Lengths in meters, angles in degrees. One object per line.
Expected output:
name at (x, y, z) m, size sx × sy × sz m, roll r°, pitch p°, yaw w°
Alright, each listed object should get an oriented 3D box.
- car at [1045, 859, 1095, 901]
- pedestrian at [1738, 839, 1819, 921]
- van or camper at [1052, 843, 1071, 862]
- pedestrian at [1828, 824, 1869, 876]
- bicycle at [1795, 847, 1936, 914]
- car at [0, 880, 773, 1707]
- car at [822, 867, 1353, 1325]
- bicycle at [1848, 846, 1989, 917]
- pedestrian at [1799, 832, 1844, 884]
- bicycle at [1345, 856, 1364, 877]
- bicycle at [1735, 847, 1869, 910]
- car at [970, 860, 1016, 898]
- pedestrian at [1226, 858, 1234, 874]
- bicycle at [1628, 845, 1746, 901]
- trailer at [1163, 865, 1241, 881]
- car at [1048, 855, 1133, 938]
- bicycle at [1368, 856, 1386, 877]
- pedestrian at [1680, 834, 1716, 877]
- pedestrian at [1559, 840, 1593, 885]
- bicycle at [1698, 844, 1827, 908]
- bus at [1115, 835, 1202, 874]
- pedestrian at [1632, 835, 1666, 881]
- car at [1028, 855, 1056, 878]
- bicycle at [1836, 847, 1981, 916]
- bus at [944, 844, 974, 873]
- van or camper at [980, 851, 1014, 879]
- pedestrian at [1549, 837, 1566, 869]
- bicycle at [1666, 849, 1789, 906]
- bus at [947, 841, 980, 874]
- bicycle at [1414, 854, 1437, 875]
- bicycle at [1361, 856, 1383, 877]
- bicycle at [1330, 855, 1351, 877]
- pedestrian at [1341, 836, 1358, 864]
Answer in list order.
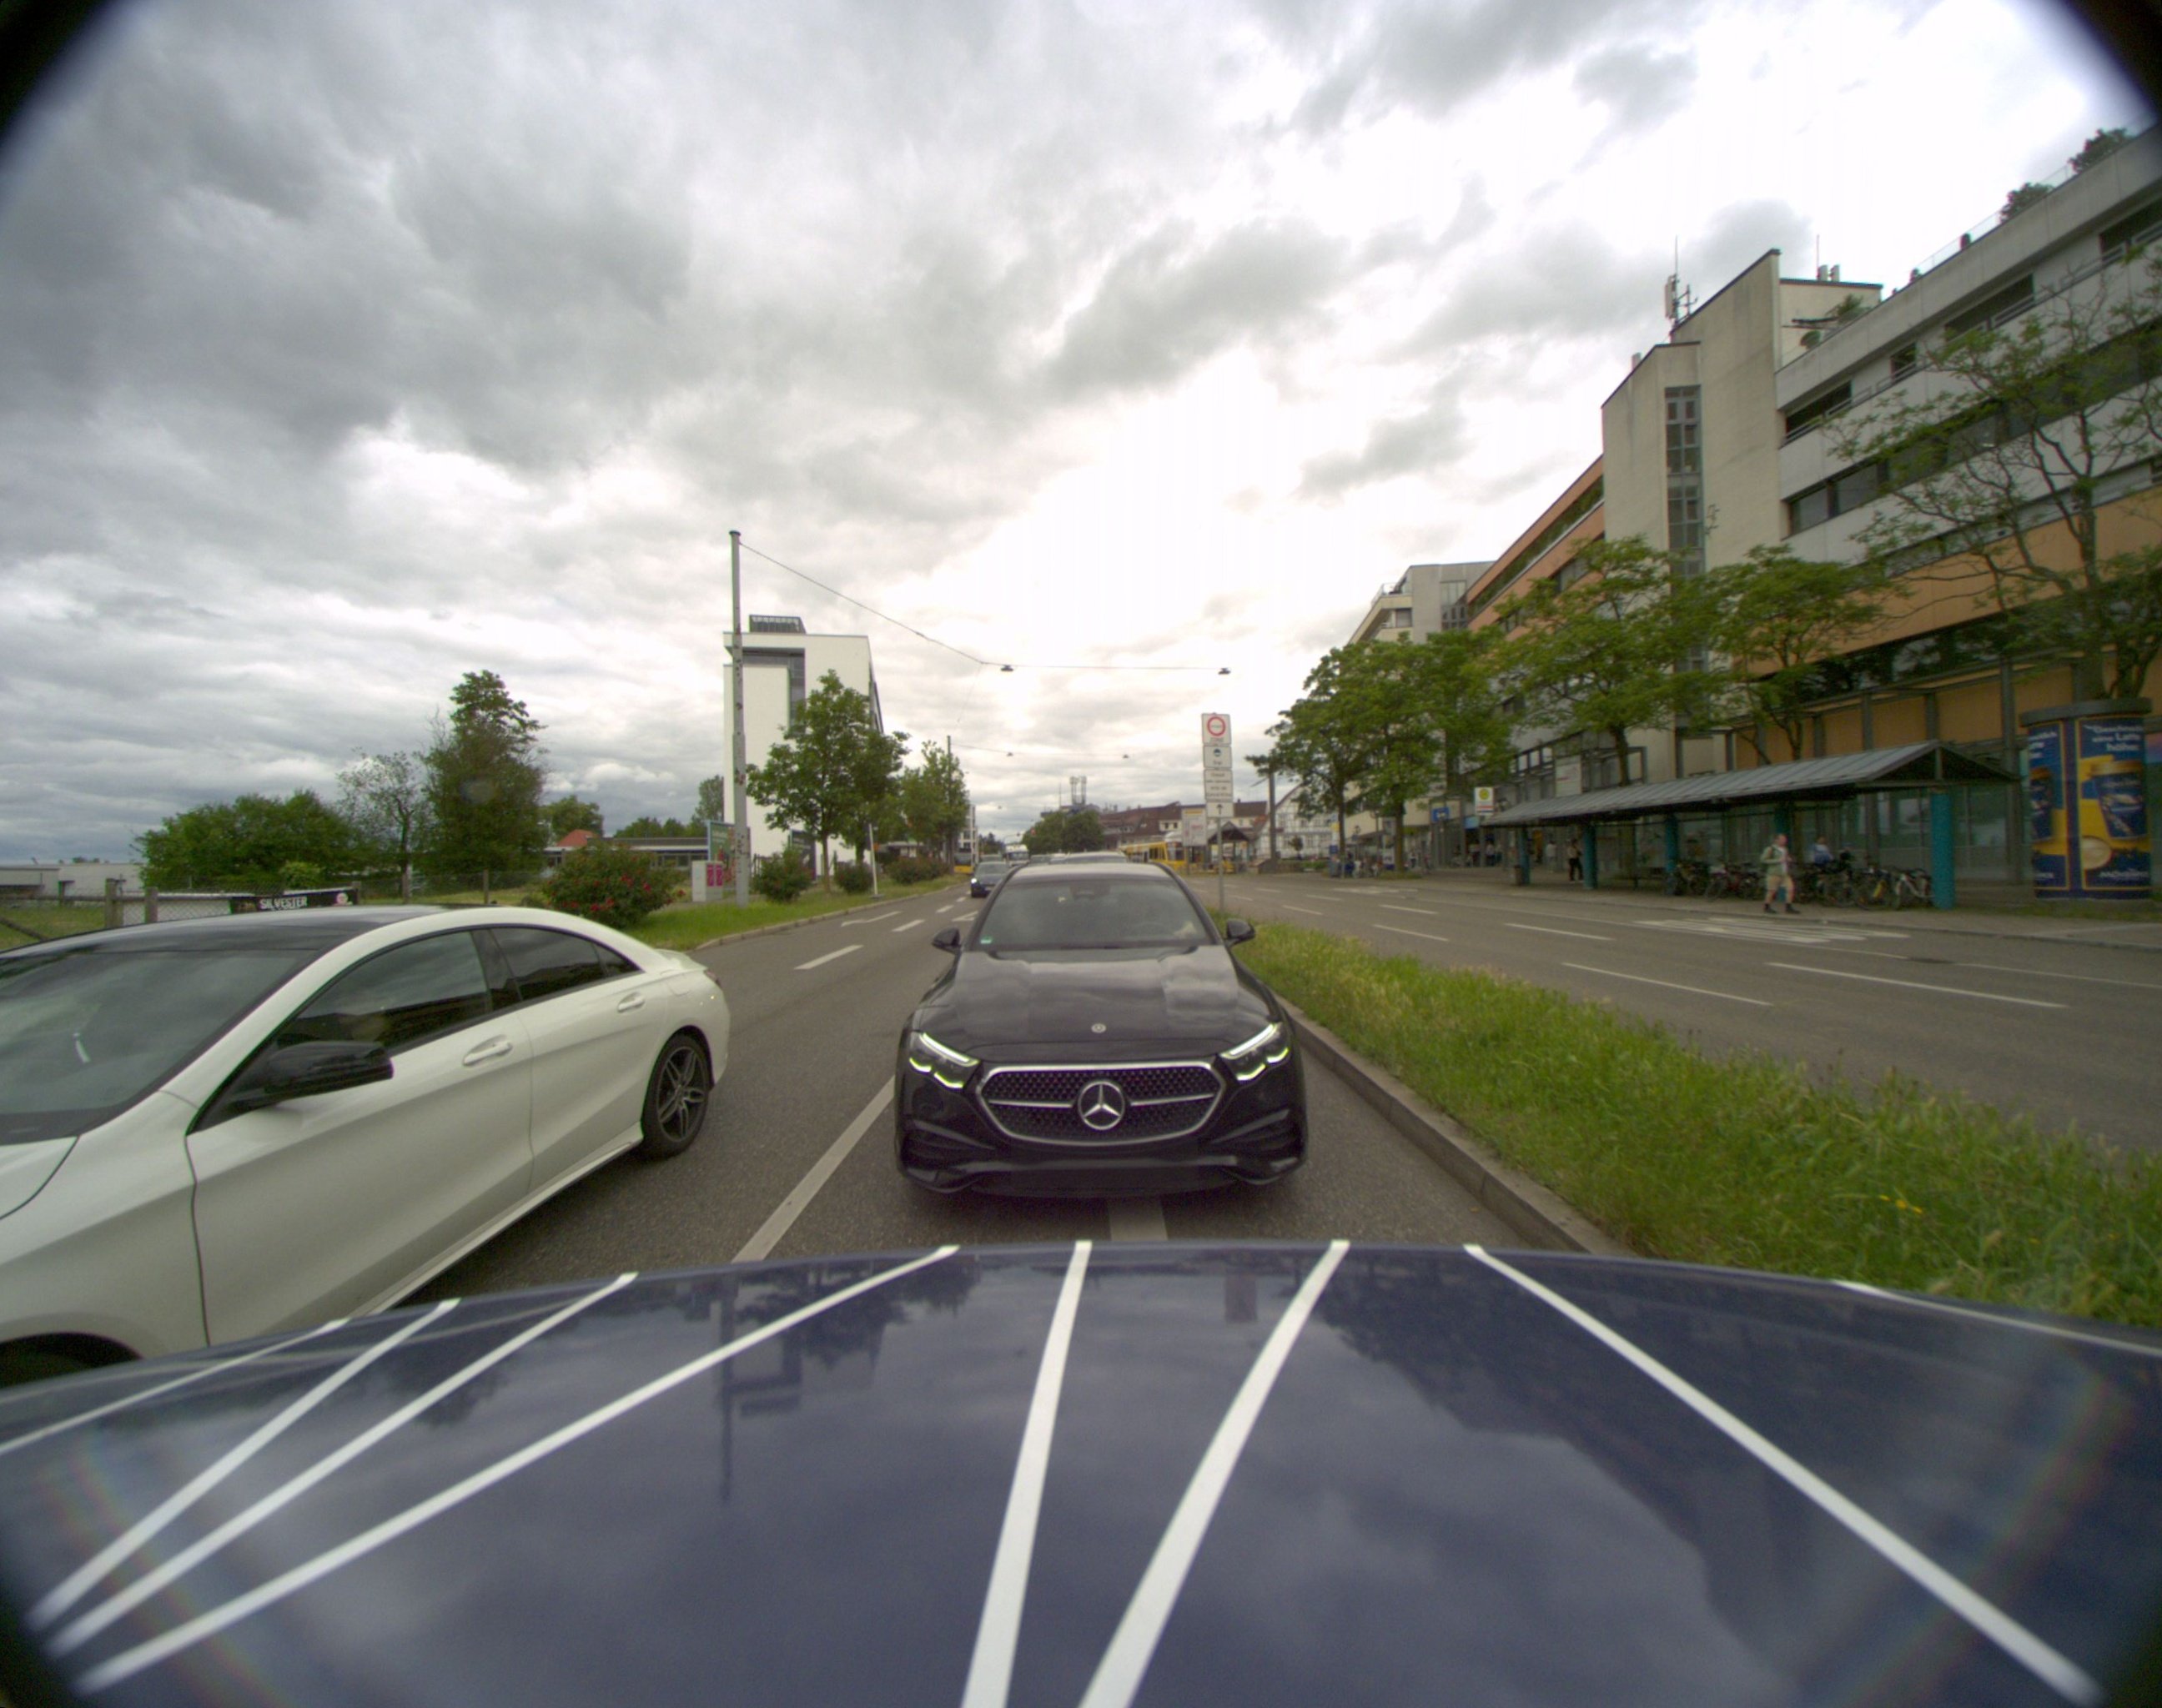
car at (-0.392, 0.947, 29.606) m, size 1.735 × 1.474 × 4.369 m, roll -2°, pitch 0°, yaw 0°
pedestrian at (16.169, 0.579, 17.645) m, size 0.705 × 1.812 × 1.213 m, roll -3°, pitch 1°, yaw -3°
van or camper at (-2.753, -0.185, 104.316) m, size 2.039 × 2.582 × 6.112 m, roll 1°, pitch -1°, yaw -7°
pedestrian at (24.233, -0.124, 23.996) m, size 0.634 × 1.591 × 0.622 m, roll -3°, pitch 0°, yaw -5°
bicycle at (18.755, 0.619, 18.179) m, size 2.908 × 1.498 × 0.778 m, roll -1°, pitch 0°, yaw -8°
car at (-3.060, 0.995, 2.667) m, size 1.872 × 1.497 × 4.772 m, roll -3°, pitch 1°, yaw 1°
car at (-0.032, 0.931, 5.212) m, size 1.873 × 1.542 × 4.773 m, roll -4°, pitch -1°, yaw -2°
bicycle at (18.868, 0.601, 17.127) m, size 2.908 × 1.498 × 0.598 m, roll -1°, pitch 0°, yaw -8°
pedestrian at (23.515, 0.123, 24.126) m, size 0.668 × 1.574 × 0.706 m, roll -3°, pitch 1°, yaw -6°
bicycle at (15.340, 0.687, 42.613) m, size 0.603 × 1.154 × 1.969 m, roll -1°, pitch -1°, yaw 32°
bicycle at (18.240, 0.602, 19.235) m, size 2.908 × 1.498 × 0.805 m, roll -1°, pitch 0°, yaw -8°
car at (-3.790, 1.030, 33.291) m, size 1.736 × 1.474 × 4.367 m, roll -2°, pitch 0°, yaw -4°
pedestrian at (14.219, 1.148, 72.565) m, size 0.601 × 1.564 × 0.620 m, roll -1°, pitch 0°, yaw -10°
bicycle at (17.971, 0.552, 22.552) m, size 2.908 × 1.498 × 0.972 m, roll -3°, pitch 0°, yaw -8°
trailer at (10.581, 1.665, 68.518) m, size 2.851 × 1.325 × 12.115 m, roll -1°, pitch -1°, yaw -12°
car at (0.211, 0.901, 18.068) m, size 1.735 × 1.680 × 4.369 m, roll -2°, pitch 0°, yaw 0°
bicycle at (16.168, 0.681, 41.522) m, size 0.603 × 1.154 × 1.693 m, roll -1°, pitch -1°, yaw 31°
pedestrian at (25.339, 0.055, 31.219) m, size 0.772 × 1.706 × 0.789 m, roll -3°, pitch 1°, yaw -8°
pedestrian at (19.411, 0.317, 29.817) m, size 0.777 × 1.703 × 0.706 m, roll -3°, pitch 1°, yaw -6°
bicycle at (18.154, 0.565, 20.264) m, size 2.908 × 1.498 × 0.811 m, roll -3°, pitch 0°, yaw -7°
bus at (8.111, 0.179, 84.399) m, size 3.891 × 3.836 × 19.323 m, roll -1°, pitch -1°, yaw -12°
pedestrian at (21.760, 0.140, 29.136) m, size 0.774 × 1.706 × 0.787 m, roll -3°, pitch 1°, yaw 17°
car at (-2.767, 0.872, 55.080) m, size 1.735 × 1.544 × 4.369 m, roll -2°, pitch 0°, yaw 0°
bicycle at (18.887, 0.609, 17.351) m, size 2.908 × 1.498 × 0.700 m, roll -1°, pitch 0°, yaw -8°
bus at (-14.605, 0.562, 90.589) m, size 3.047 × 3.216 × 9.329 m, roll -1°, pitch -1°, yaw -12°
van or camper at (-5.943, 0.767, 54.127) m, size 1.809 × 1.867 × 4.849 m, roll -2°, pitch 0°, yaw 0°
pedestrian at (24.092, -0.035, 38.400) m, size 0.633 × 1.591 × 0.624 m, roll -3°, pitch 1°, yaw 36°
bicycle at (17.992, 0.634, 21.175) m, size 2.908 × 1.498 × 0.891 m, roll -1°, pitch 0°, yaw -8°
bus at (-12.712, 0.425, 81.417) m, size 2.993 × 3.222 × 9.856 m, roll -1°, pitch 0°, yaw -12°
bicycle at (19.168, 0.584, 42.269) m, size 0.672 × 1.154 × 2.023 m, roll -1°, pitch -1°, yaw 39°
bicycle at (16.451, 0.716, 42.962) m, size 0.604 × 1.154 × 1.966 m, roll -1°, pitch -1°, yaw 4°
bicycle at (14.798, 0.676, 43.310) m, size 0.603 × 1.154 × 1.969 m, roll -3°, pitch -1°, yaw 33°
pedestrian at (18.251, -0.258, 51.643) m, size 0.747 × 1.866 × 0.873 m, roll -1°, pitch 0°, yaw -8°
